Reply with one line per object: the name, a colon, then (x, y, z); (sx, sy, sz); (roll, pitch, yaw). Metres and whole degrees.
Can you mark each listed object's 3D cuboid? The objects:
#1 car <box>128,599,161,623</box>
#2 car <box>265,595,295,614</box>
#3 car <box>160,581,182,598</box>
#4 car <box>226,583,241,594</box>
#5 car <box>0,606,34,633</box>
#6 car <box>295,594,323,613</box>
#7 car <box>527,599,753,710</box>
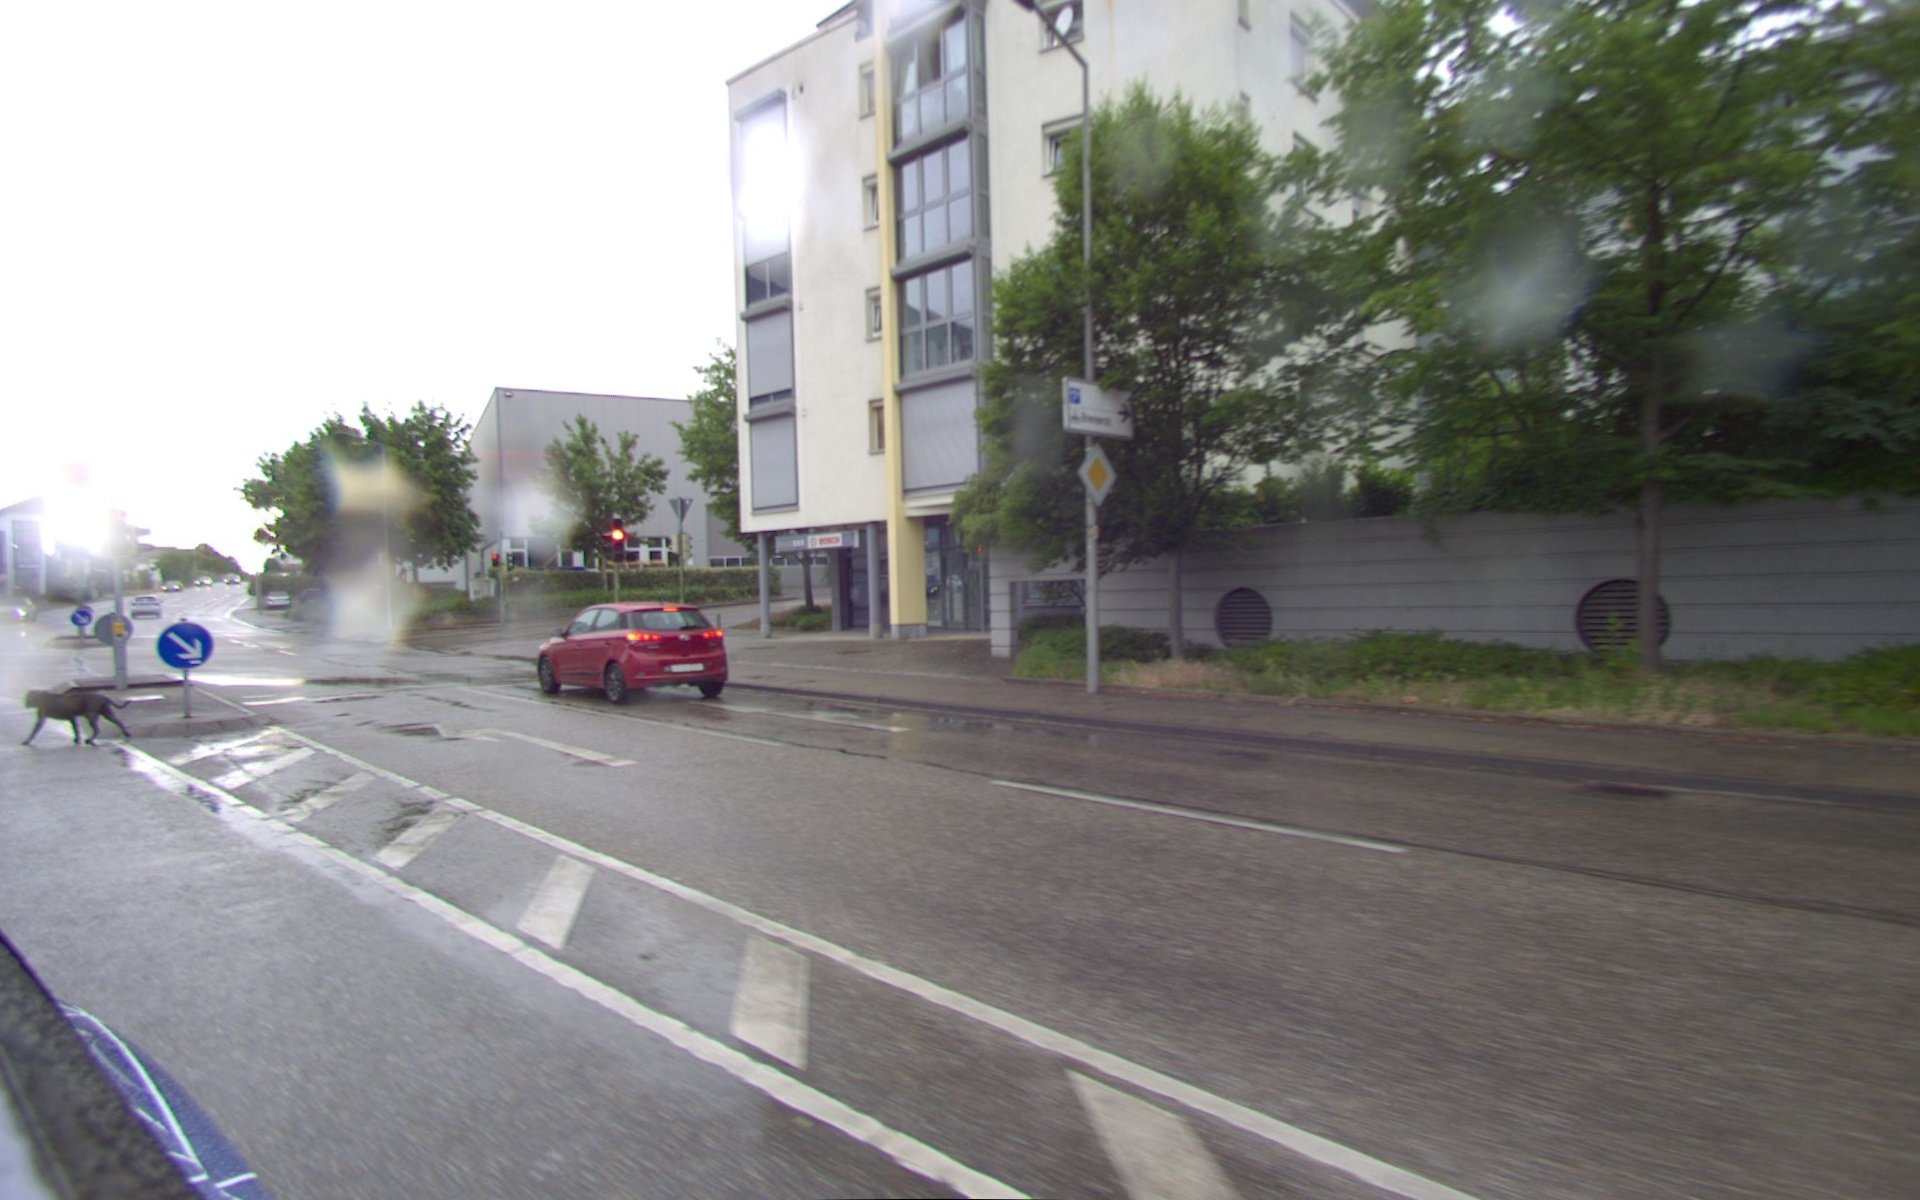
car: (-58.313, 0.752, 72.418); (1.667, 1.566, 3.915); (-5, 3, -37)
car: (-56.981, 0.387, 84.882); (1.708, 1.489, 4.033); (-3, 2, -30)
car: (-104.805, -1.416, 134.435); (1.968, 2.028, 4.010); (-7, 5, -35)
car: (-120.874, -1.850, 168.357); (1.800, 1.699, 4.010); (-2, 1, -34)
car: (-59.614, 1.209, 63.449); (1.869, 1.556, 4.029); (-3, 2, -38)
car: (-55.423, 0.249, 86.245); (1.708, 1.489, 4.033); (-3, 2, -30)
car: (-5.122, 0.769, 15.889); (1.754, 1.518, 4.108); (1, -1, -43)
